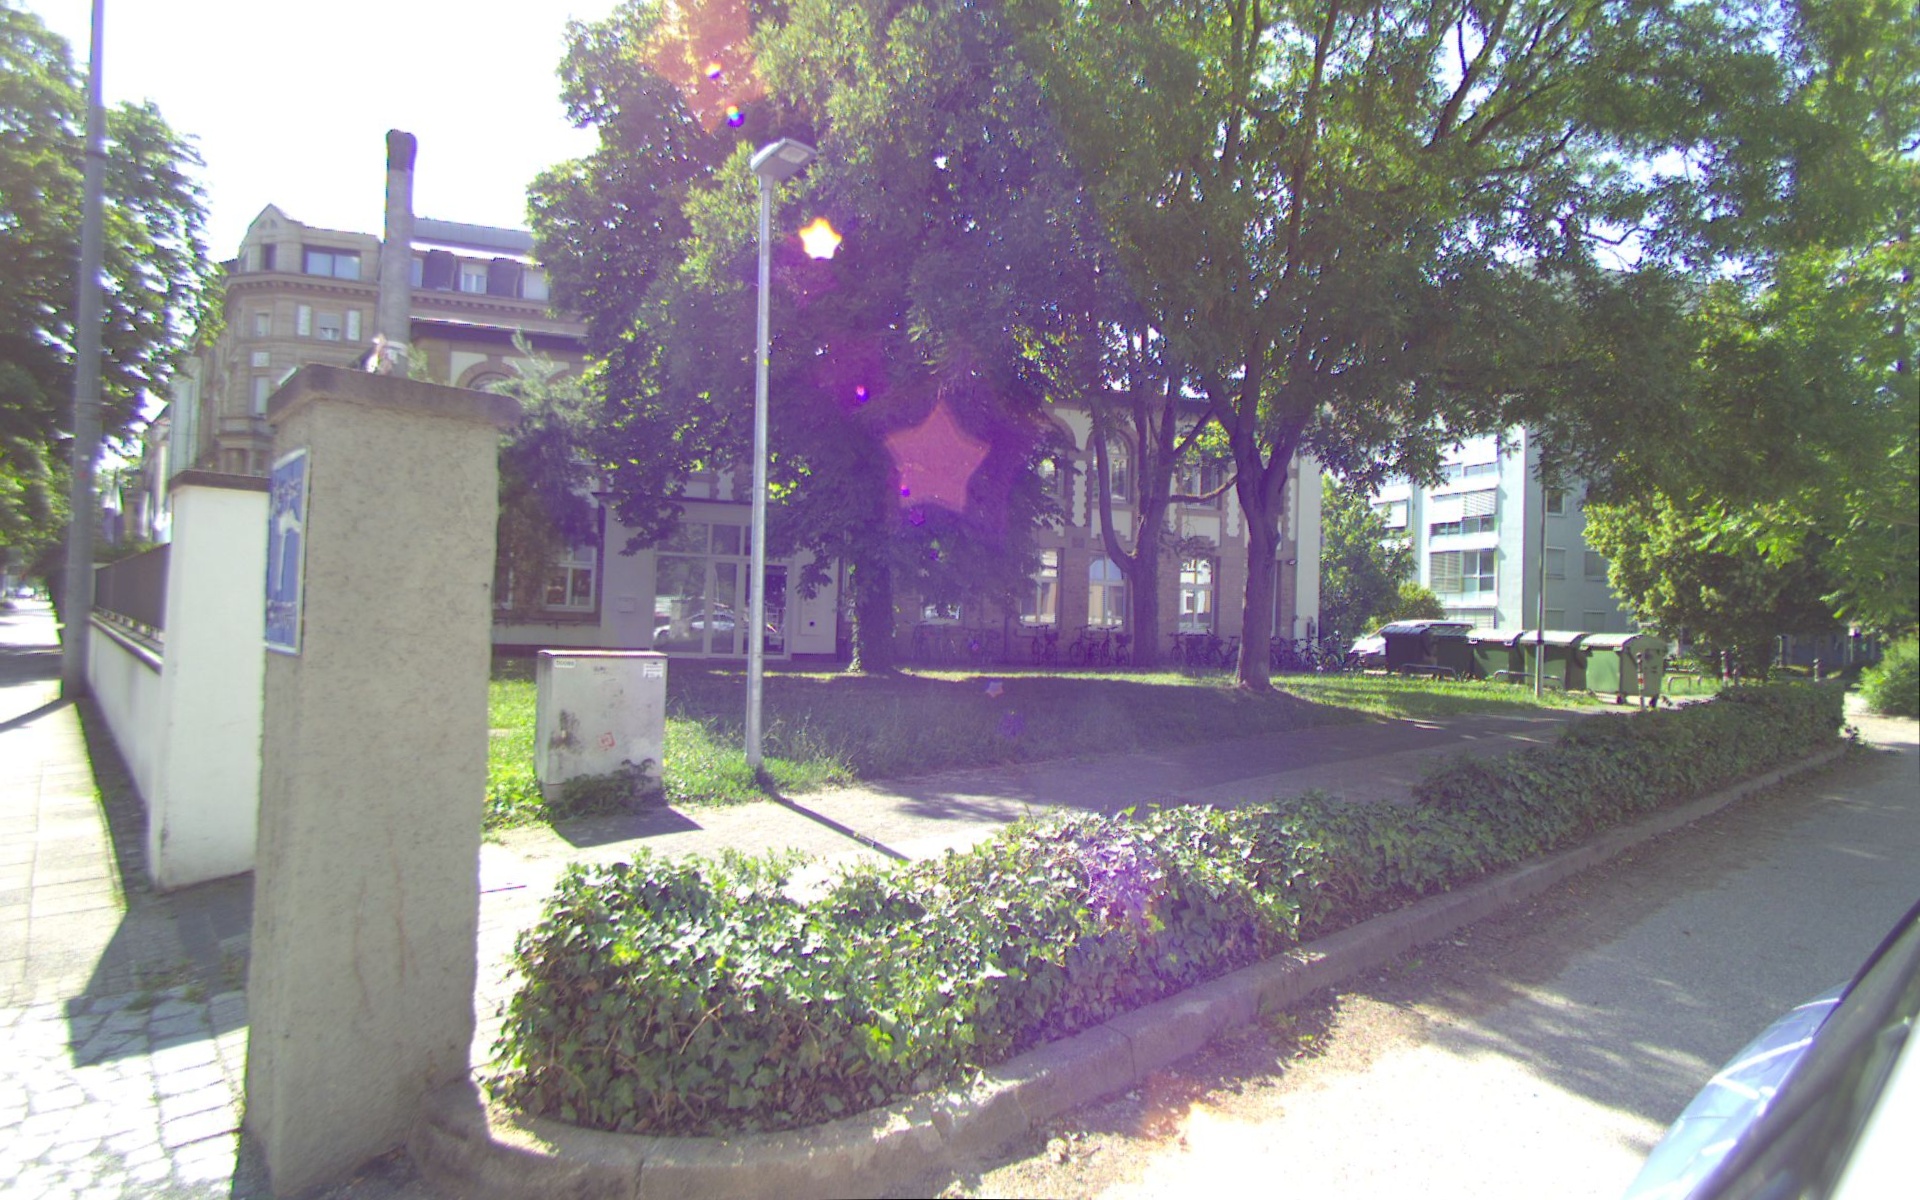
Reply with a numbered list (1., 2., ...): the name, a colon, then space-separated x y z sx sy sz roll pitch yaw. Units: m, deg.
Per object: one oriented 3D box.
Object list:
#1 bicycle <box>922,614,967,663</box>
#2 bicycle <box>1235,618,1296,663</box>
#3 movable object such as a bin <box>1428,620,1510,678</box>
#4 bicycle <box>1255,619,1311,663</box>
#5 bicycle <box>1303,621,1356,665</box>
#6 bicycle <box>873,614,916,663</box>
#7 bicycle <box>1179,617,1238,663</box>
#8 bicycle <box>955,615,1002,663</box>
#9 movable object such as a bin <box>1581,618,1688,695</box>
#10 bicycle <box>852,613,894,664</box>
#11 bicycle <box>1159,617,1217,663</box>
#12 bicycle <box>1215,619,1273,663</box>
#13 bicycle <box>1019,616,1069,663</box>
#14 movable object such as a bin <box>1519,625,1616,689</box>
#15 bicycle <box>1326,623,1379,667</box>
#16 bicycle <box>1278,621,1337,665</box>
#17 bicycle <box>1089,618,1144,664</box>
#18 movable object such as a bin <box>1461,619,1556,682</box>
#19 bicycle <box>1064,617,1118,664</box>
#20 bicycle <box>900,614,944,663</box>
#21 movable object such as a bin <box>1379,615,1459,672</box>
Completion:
1. bicycle: -0.430 0.965 26.108 0.575 1.176 2.107 2 -1 -17
2. bicycle: 8.591 1.124 28.552 0.575 1.176 2.107 2 -1 -17
3. movable object such as a bin: 12.577 1.199 25.059 1.190 1.366 1.355 2 -1 -20
4. bicycle: 9.134 1.151 28.694 0.484 1.176 1.918 2 -1 -17
5. bicycle: 10.577 1.220 29.022 0.496 1.176 1.808 2 -1 -12
6. bicycle: -1.673 0.945 25.605 0.575 1.176 2.107 2 -1 -17
7. bicycle: 6.854 1.086 28.065 0.575 1.176 2.107 2 -1 -17
8. bicycle: 0.461 0.984 26.311 0.575 1.176 2.107 2 -1 -17
9. movable object such as a bin: 13.766 1.128 20.700 1.191 1.481 1.393 1 -1 -5
10. bicycle: -2.160 0.934 24.995 0.575 1.176 2.107 2 -1 -17
11. bicycle: 6.243 1.071 27.821 0.575 1.176 2.107 2 -1 -17
12. bicycle: 7.910 1.125 28.271 0.575 1.176 1.925 2 -1 -17
13. bicycle: 2.197 1.029 26.748 0.575 1.176 2.107 2 -1 -17
14. movable object such as a bin: 13.265 1.236 22.122 1.190 1.317 1.358 2 -1 -20
15. bicycle: 11.202 1.273 28.952 0.546 1.176 1.947 1 -1 -7
16. bicycle: 9.925 1.216 28.987 0.600 1.176 1.855 2 -1 -17
17. bicycle: 4.200 1.084 27.351 0.575 1.176 2.107 2 -1 -17
18. movable object such as a bin: 12.725 1.160 23.522 1.190 1.379 1.505 2 -1 -20
19. bicycle: 3.485 1.052 27.097 0.575 1.176 2.107 2 -1 -17
20. bicycle: -0.978 0.960 25.812 0.575 1.176 2.107 2 -1 -17
21. movable object such as a bin: 12.021 1.134 26.535 1.224 1.427 1.439 2 -1 -21
